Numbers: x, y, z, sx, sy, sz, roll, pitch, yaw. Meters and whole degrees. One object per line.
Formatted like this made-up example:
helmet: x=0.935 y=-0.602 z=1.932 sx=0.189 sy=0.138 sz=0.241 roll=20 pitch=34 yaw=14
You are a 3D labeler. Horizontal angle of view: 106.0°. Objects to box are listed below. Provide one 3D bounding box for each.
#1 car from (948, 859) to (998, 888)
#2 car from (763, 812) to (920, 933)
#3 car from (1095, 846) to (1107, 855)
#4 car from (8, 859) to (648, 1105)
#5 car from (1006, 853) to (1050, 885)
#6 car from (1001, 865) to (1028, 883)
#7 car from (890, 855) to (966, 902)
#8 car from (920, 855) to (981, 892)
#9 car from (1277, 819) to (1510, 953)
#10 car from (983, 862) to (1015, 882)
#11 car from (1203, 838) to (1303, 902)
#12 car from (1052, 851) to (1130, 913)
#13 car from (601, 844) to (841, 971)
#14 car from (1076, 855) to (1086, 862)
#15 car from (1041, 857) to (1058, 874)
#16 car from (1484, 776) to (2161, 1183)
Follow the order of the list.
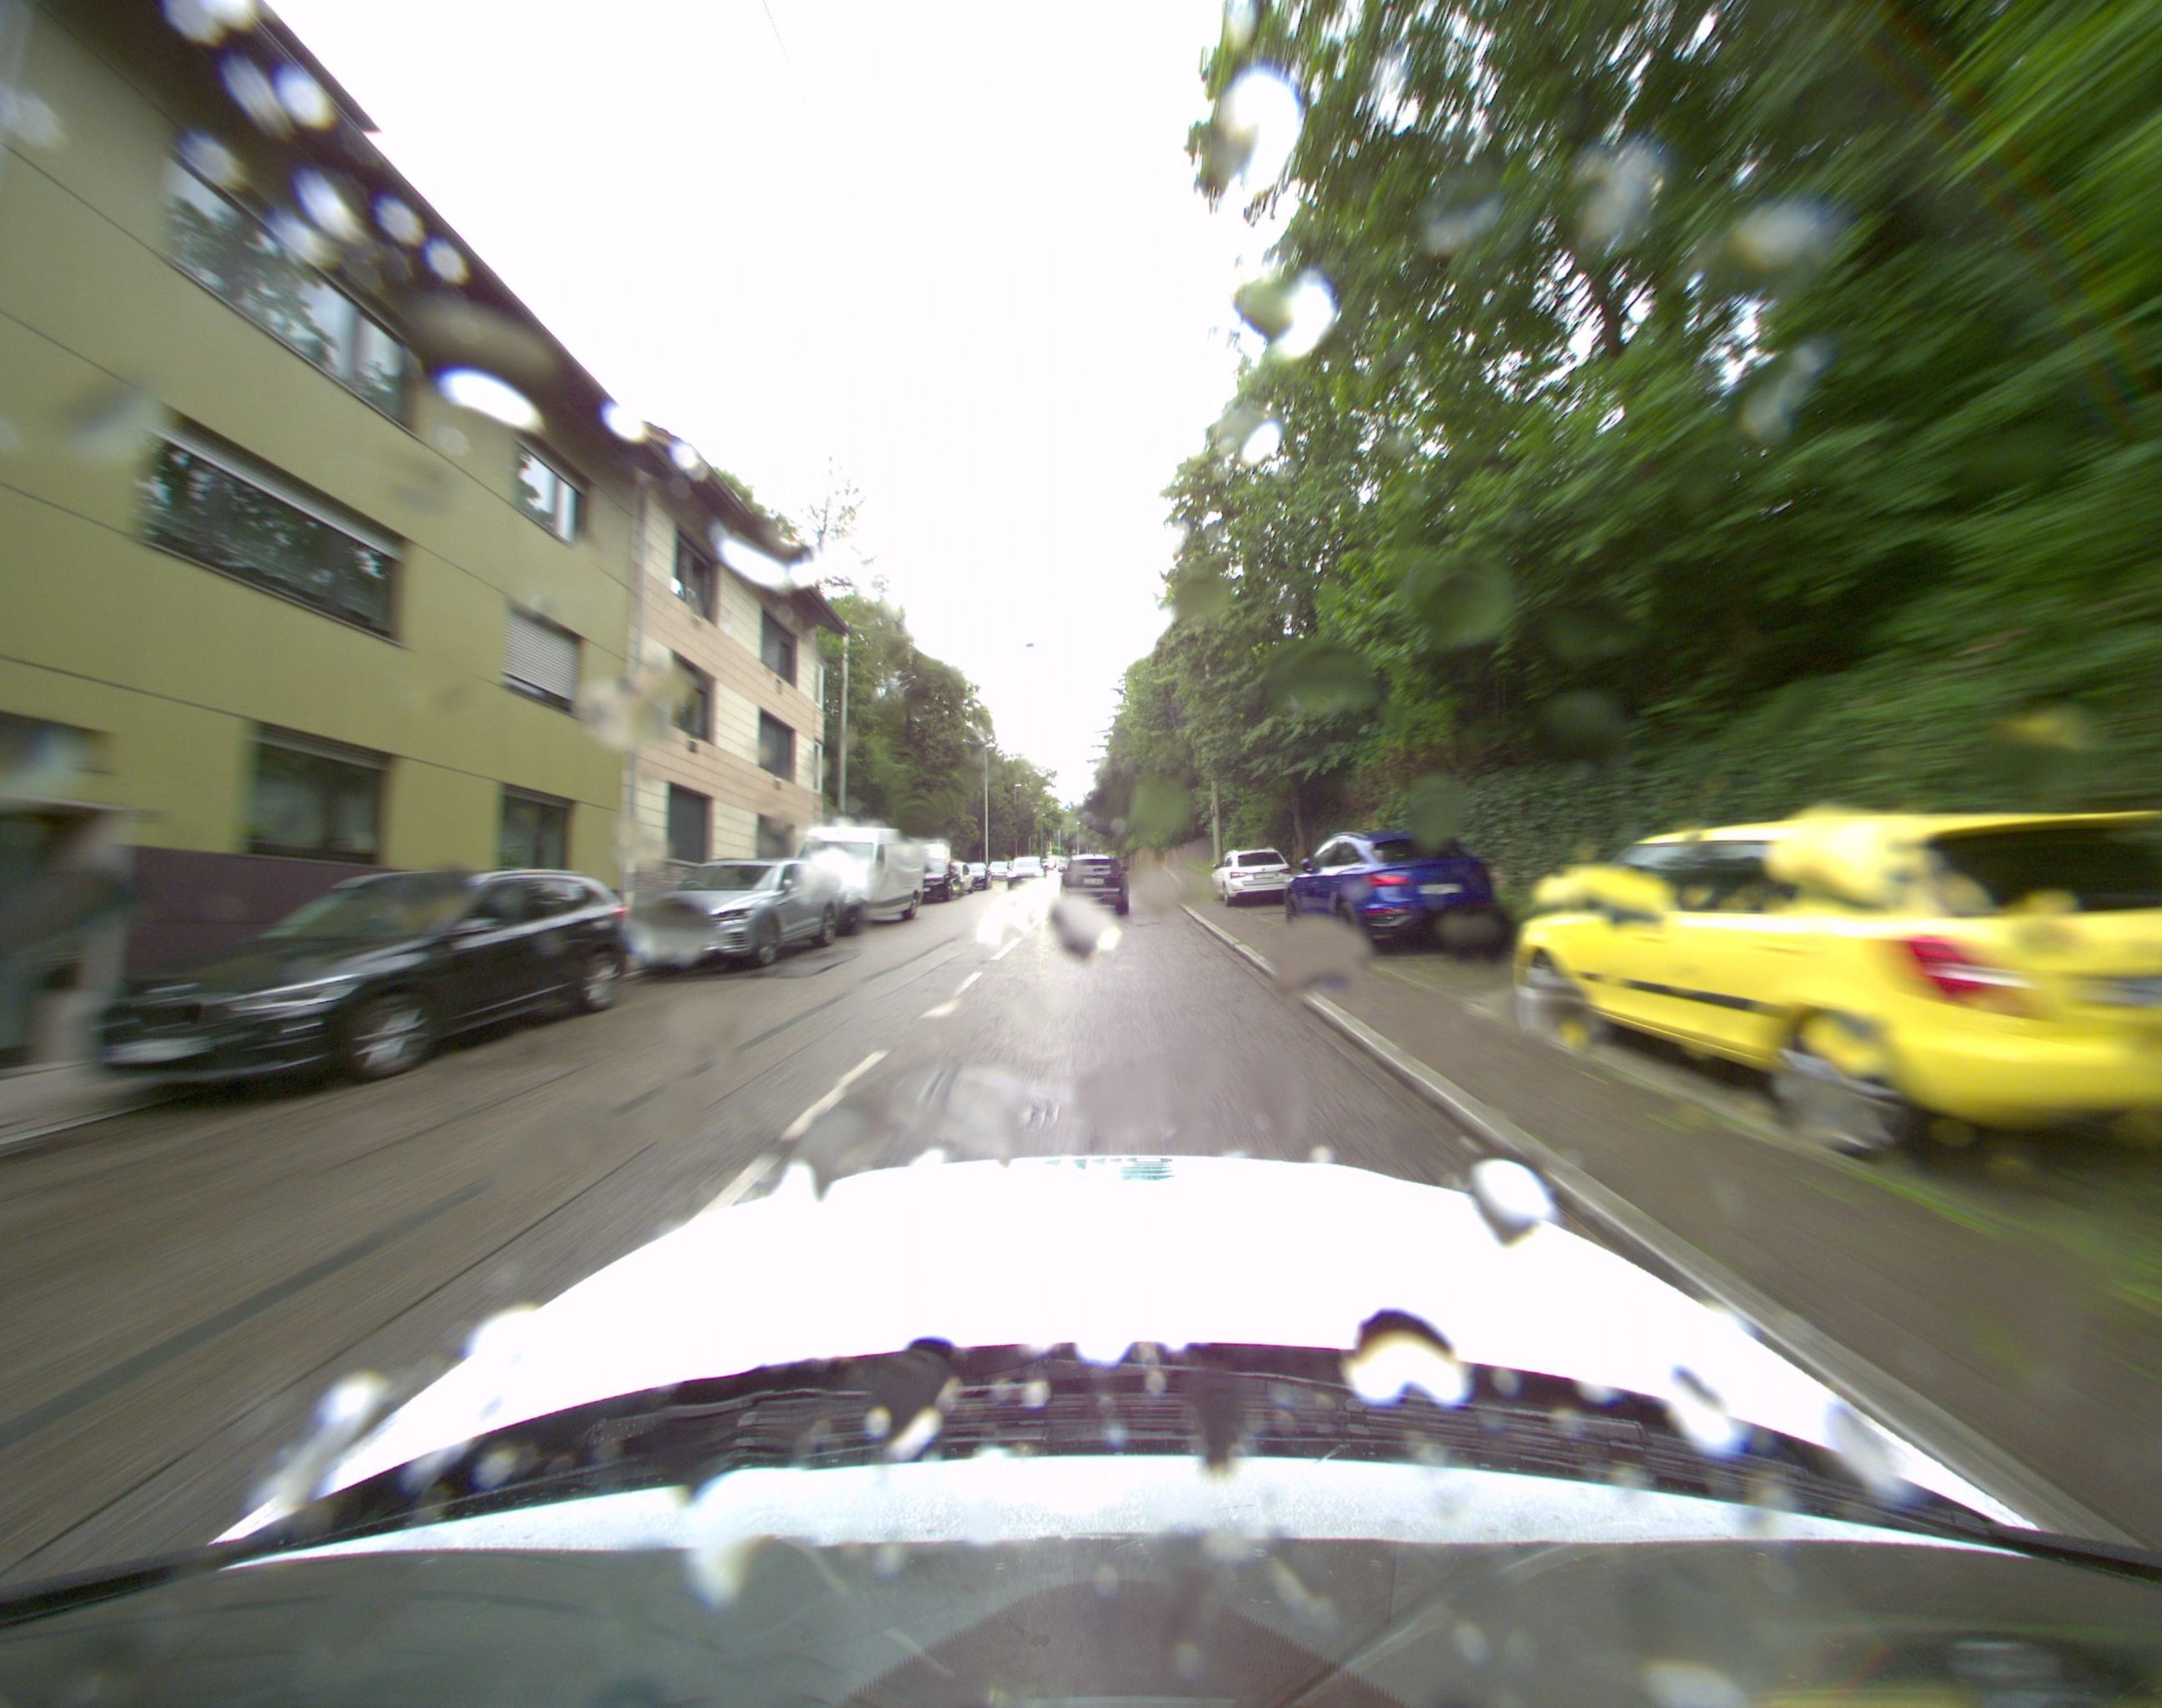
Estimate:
car: x=-5.769 y=1.006 z=44.051 sx=1.983 sy=1.384 sz=4.458 roll=-2 pitch=0 yaw=1
car: x=-5.629 y=0.379 z=20.097 sx=1.983 sy=2.475 sz=5.785 roll=-2 pitch=0 yaw=1
car: x=4.067 y=-0.739 z=165.351 sx=1.985 sy=1.560 sz=4.004 roll=-3 pitch=-2 yaw=4
car: x=-6.331 y=0.892 z=7.760 sx=1.983 sy=1.585 sz=4.306 roll=-2 pitch=0 yaw=1
car: x=-2.699 y=0.746 z=42.136 sx=1.987 sy=1.559 sz=4.000 roll=0 pitch=0 yaw=0
car: x=-6.139 y=1.836 z=75.671 sx=1.983 sy=1.384 sz=4.458 roll=-2 pitch=0 yaw=1
car: x=-5.795 y=0.880 z=31.398 sx=1.983 sy=1.566 sz=4.458 roll=-2 pitch=0 yaw=1
car: x=-6.045 y=0.862 z=38.240 sx=1.983 sy=1.566 sz=4.458 roll=-2 pitch=0 yaw=1
car: x=4.356 y=0.399 z=12.184 sx=1.804 sy=1.530 sz=4.418 roll=-4 pitch=0 yaw=2
car: x=-6.453 y=1.417 z=64.673 sx=1.983 sy=1.384 sz=4.458 roll=-2 pitch=0 yaw=1
car: x=4.724 y=0.418 z=23.029 sx=1.805 sy=1.530 sz=4.416 roll=-4 pitch=0 yaw=0
car: x=0.332 y=0.708 z=22.732 sx=1.986 sy=1.559 sz=4.002 roll=0 pitch=0 yaw=2
car: x=-5.822 y=0.761 z=13.922 sx=1.983 sy=1.755 sz=4.481 roll=-2 pitch=0 yaw=1
car: x=-0.015 y=1.065 z=185.757 sx=2.067 sy=1.559 sz=4.000 roll=-1 pitch=0 yaw=1
car: x=-3.993 y=1.483 z=104.001 sx=1.987 sy=1.948 sz=3.999 roll=0 pitch=-2 yaw=0
car: x=4.219 y=0.470 z=5.058 sx=1.626 sy=1.530 sz=4.003 roll=-1 pitch=0 yaw=3
